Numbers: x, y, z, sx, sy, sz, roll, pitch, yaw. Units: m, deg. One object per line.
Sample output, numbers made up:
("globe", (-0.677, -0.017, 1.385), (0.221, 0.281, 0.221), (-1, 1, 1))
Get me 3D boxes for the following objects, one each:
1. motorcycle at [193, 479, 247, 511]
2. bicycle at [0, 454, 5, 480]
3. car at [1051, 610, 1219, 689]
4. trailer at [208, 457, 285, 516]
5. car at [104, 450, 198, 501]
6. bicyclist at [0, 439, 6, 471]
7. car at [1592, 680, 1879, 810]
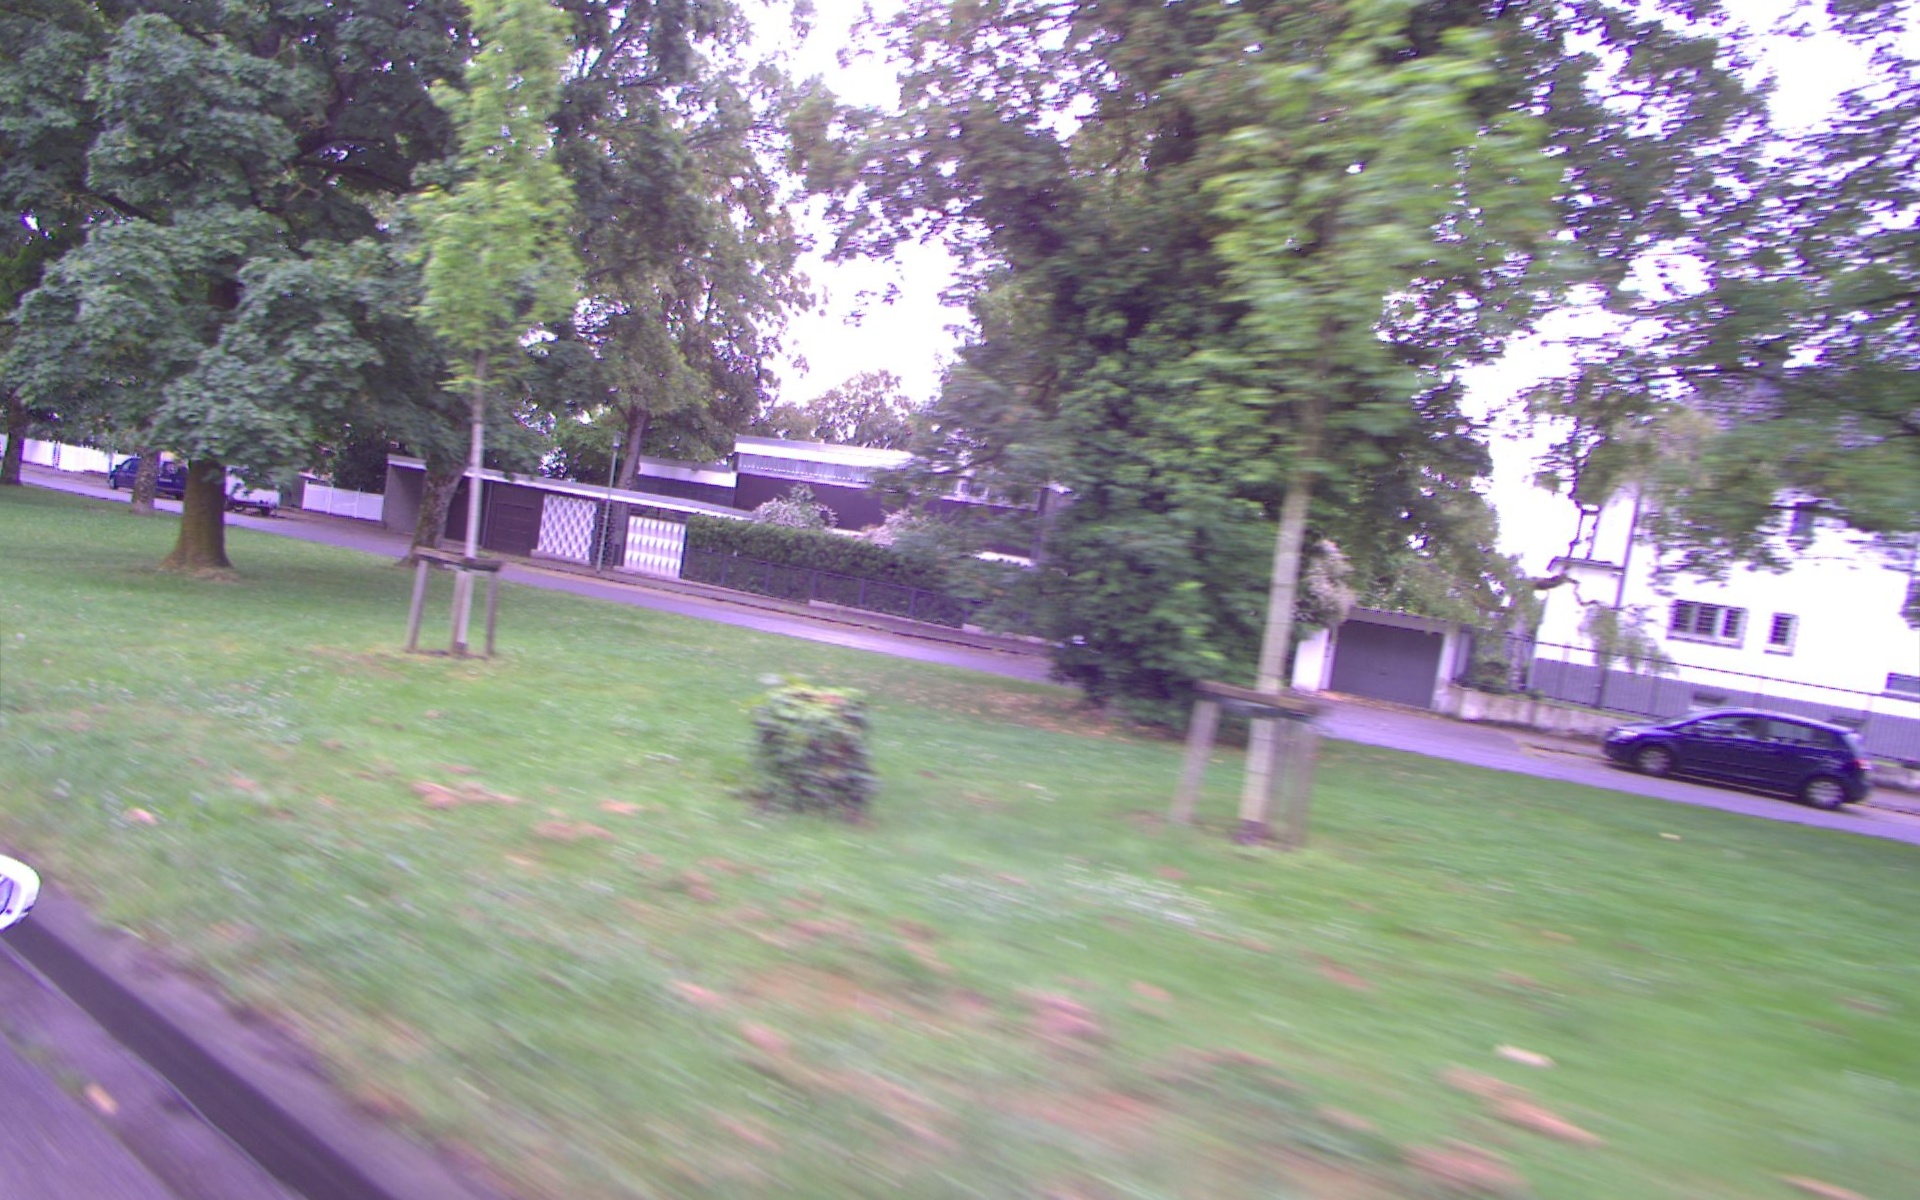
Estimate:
("motorcycle", (-33.591, -4.758, 45.698), (1.876, 1.107, 0.651), (7, 3, -39))
("bicycle", (-44.643, -6.195, 46.238), (1.832, 1.153, 0.596), (9, 2, 32))
("car", (4.336, 1.185, 25.030), (3.646, 1.394, 1.682), (8, 3, 29))
("trailer", (-31.605, -5.032, 44.554), (2.898, 2.181, 1.439), (8, 1, 27))
("car", (-39.428, -6.080, 49.018), (4.569, 1.834, 1.943), (9, 4, 29))
("bicyclist", (-44.568, -6.729, 46.232), (0.983, 1.408, 0.745), (9, 2, 32))
("car", (14.741, 2.697, 19.450), (3.965, 1.645, 1.904), (8, 2, 29))
